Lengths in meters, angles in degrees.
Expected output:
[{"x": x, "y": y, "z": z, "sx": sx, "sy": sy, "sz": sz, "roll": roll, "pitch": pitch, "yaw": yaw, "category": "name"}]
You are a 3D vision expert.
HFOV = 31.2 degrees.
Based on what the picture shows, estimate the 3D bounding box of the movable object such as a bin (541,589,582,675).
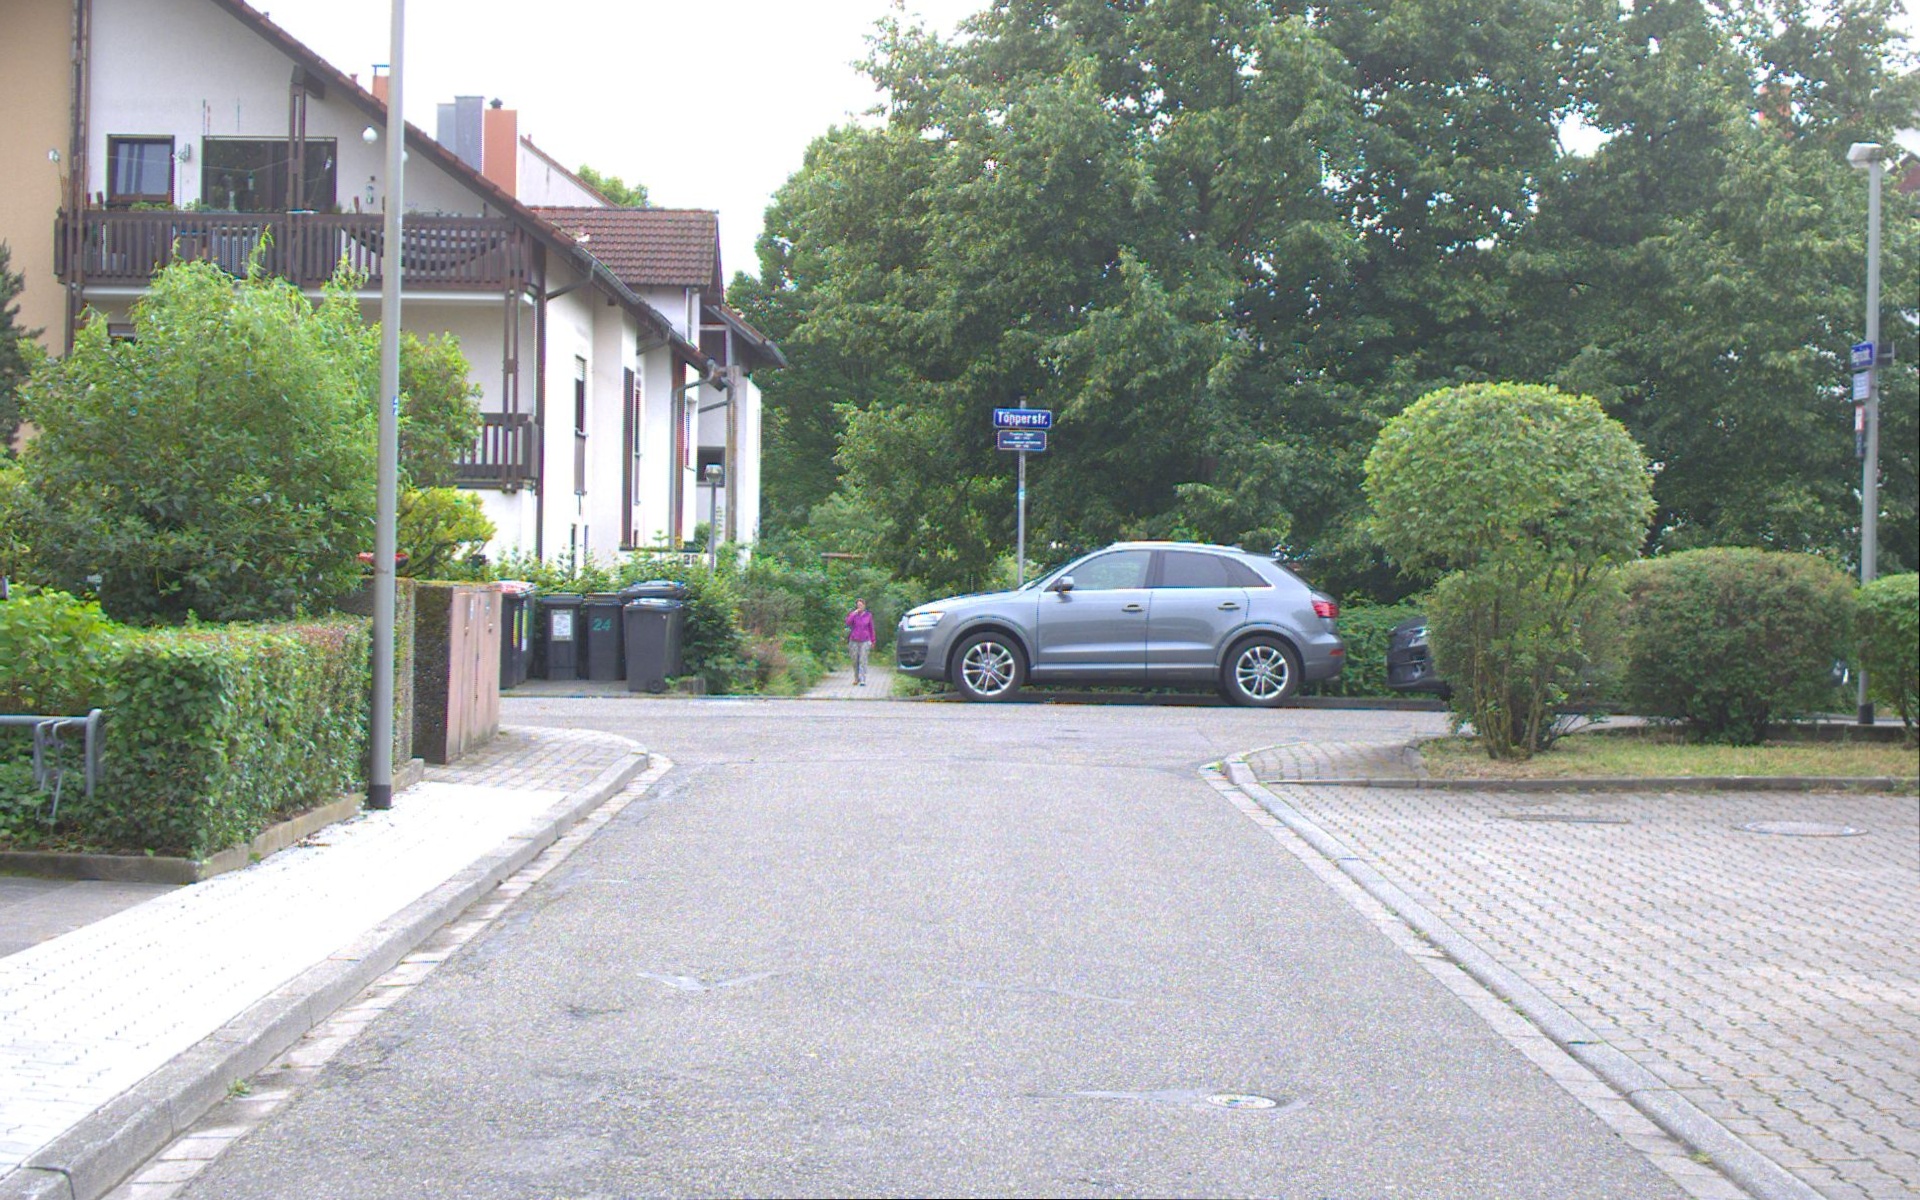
[{"x": -4.261, "y": 0.337, "z": 36.806, "sx": 0.386, "sy": 0.898, "sz": 0.379, "roll": 2, "pitch": 1, "yaw": -3, "category": "movable object such as a bin"}]

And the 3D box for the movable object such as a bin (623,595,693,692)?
[{"x": -3.092, "y": 0.441, "z": 35.228, "sx": 0.638, "sy": 0.950, "sz": 0.723, "roll": 2, "pitch": 1, "yaw": -1, "category": "movable object such as a bin"}]

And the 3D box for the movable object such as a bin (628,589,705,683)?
[{"x": -3.081, "y": 0.378, "z": 36.109, "sx": 0.733, "sy": 0.950, "sz": 0.584, "roll": 2, "pitch": 1, "yaw": -1, "category": "movable object such as a bin"}]

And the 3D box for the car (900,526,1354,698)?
[{"x": 1.555, "y": 0.129, "z": 33.114, "sx": 4.237, "sy": 1.526, "sz": 1.747, "roll": 1, "pitch": -1, "yaw": -1, "category": "car"}]

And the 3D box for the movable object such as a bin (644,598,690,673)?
[{"x": -3.171, "y": 0.382, "z": 37.199, "sx": 0.459, "sy": 0.795, "sz": 0.379, "roll": 2, "pitch": 1, "yaw": -3, "category": "movable object such as a bin"}]

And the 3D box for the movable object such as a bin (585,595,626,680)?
[{"x": -3.796, "y": 0.396, "z": 36.830, "sx": 0.386, "sy": 0.886, "sz": 0.379, "roll": 2, "pitch": 1, "yaw": -3, "category": "movable object such as a bin"}]

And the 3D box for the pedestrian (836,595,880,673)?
[{"x": -1.983, "y": 0.658, "z": 66.844, "sx": 0.815, "sy": 1.512, "sz": 0.438, "roll": 1, "pitch": 0, "yaw": -3, "category": "pedestrian"}]

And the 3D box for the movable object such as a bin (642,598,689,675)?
[{"x": -3.144, "y": 0.388, "z": 36.683, "sx": 0.459, "sy": 0.795, "sz": 0.379, "roll": 2, "pitch": 1, "yaw": -3, "category": "movable object such as a bin"}]

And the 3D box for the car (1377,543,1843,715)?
[{"x": 6.152, "y": 0.279, "z": 32.911, "sx": 4.182, "sy": 1.526, "sz": 1.747, "roll": 1, "pitch": -1, "yaw": 4, "category": "car"}]

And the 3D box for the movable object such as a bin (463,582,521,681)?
[{"x": -4.823, "y": 0.320, "z": 35.450, "sx": 0.537, "sy": 0.990, "sz": 0.379, "roll": 2, "pitch": 1, "yaw": -3, "category": "movable object such as a bin"}]

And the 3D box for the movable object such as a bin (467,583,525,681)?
[{"x": -4.835, "y": 0.332, "z": 35.834, "sx": 0.537, "sy": 0.990, "sz": 0.337, "roll": 2, "pitch": 1, "yaw": -3, "category": "movable object such as a bin"}]

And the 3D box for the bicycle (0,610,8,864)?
[{"x": -3.947, "y": 0.579, "z": 12.914, "sx": 0.318, "sy": 1.072, "sz": 1.418, "roll": 2, "pitch": 1, "yaw": 0, "category": "bicycle"}]
